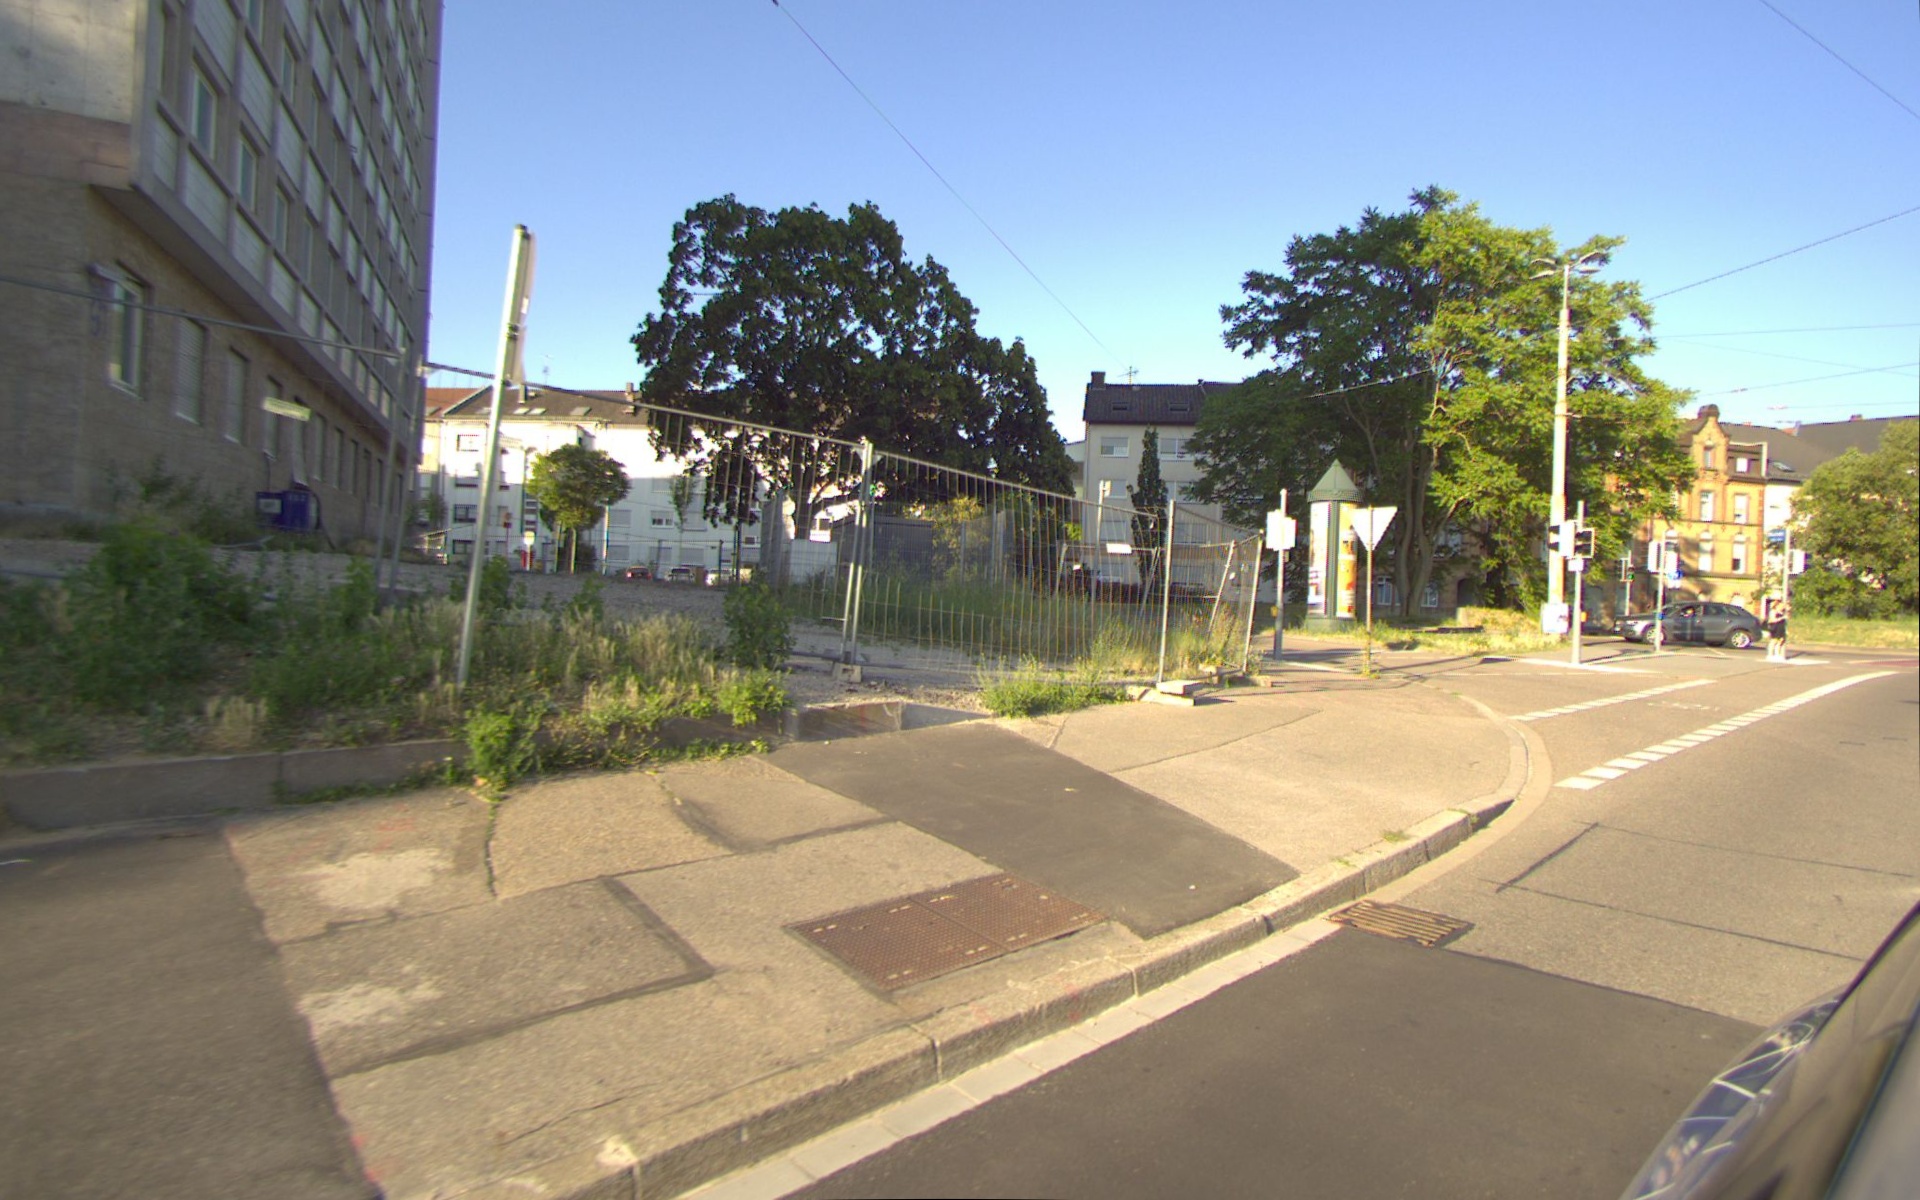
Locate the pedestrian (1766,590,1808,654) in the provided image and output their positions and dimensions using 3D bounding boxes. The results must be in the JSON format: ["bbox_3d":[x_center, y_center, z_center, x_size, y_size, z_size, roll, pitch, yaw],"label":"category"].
[{"bbox_3d":[21.567,0.570,26.411,0.535,1.615,0.595,2,1,-7],"label":"pedestrian"}]

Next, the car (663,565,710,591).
[{"bbox_3d":[-16.723,-1.356,62.107,1.674,1.469,4.332,2,1,1],"label":"car"}]

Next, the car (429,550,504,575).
[{"bbox_3d":[-32.494,-2.450,66.707,4.264,1.469,1.701,2,1,11],"label":"car"}]

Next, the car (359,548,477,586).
[{"bbox_3d":[-22.922,-1.400,42.832,4.263,1.469,1.701,2,1,11],"label":"car"}]

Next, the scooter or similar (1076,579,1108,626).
[{"bbox_3d":[3.685,0.058,28.305,0.384,1.291,1.297,0,1,-17],"label":"scooter or similar"}]

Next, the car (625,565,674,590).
[{"bbox_3d":[-19.398,-1.424,63.398,1.674,1.469,4.332,2,1,1],"label":"car"}]

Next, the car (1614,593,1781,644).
[{"bbox_3d":[25.596,0.603,35.271,4.268,1.567,1.812,2,1,14],"label":"car"}]
